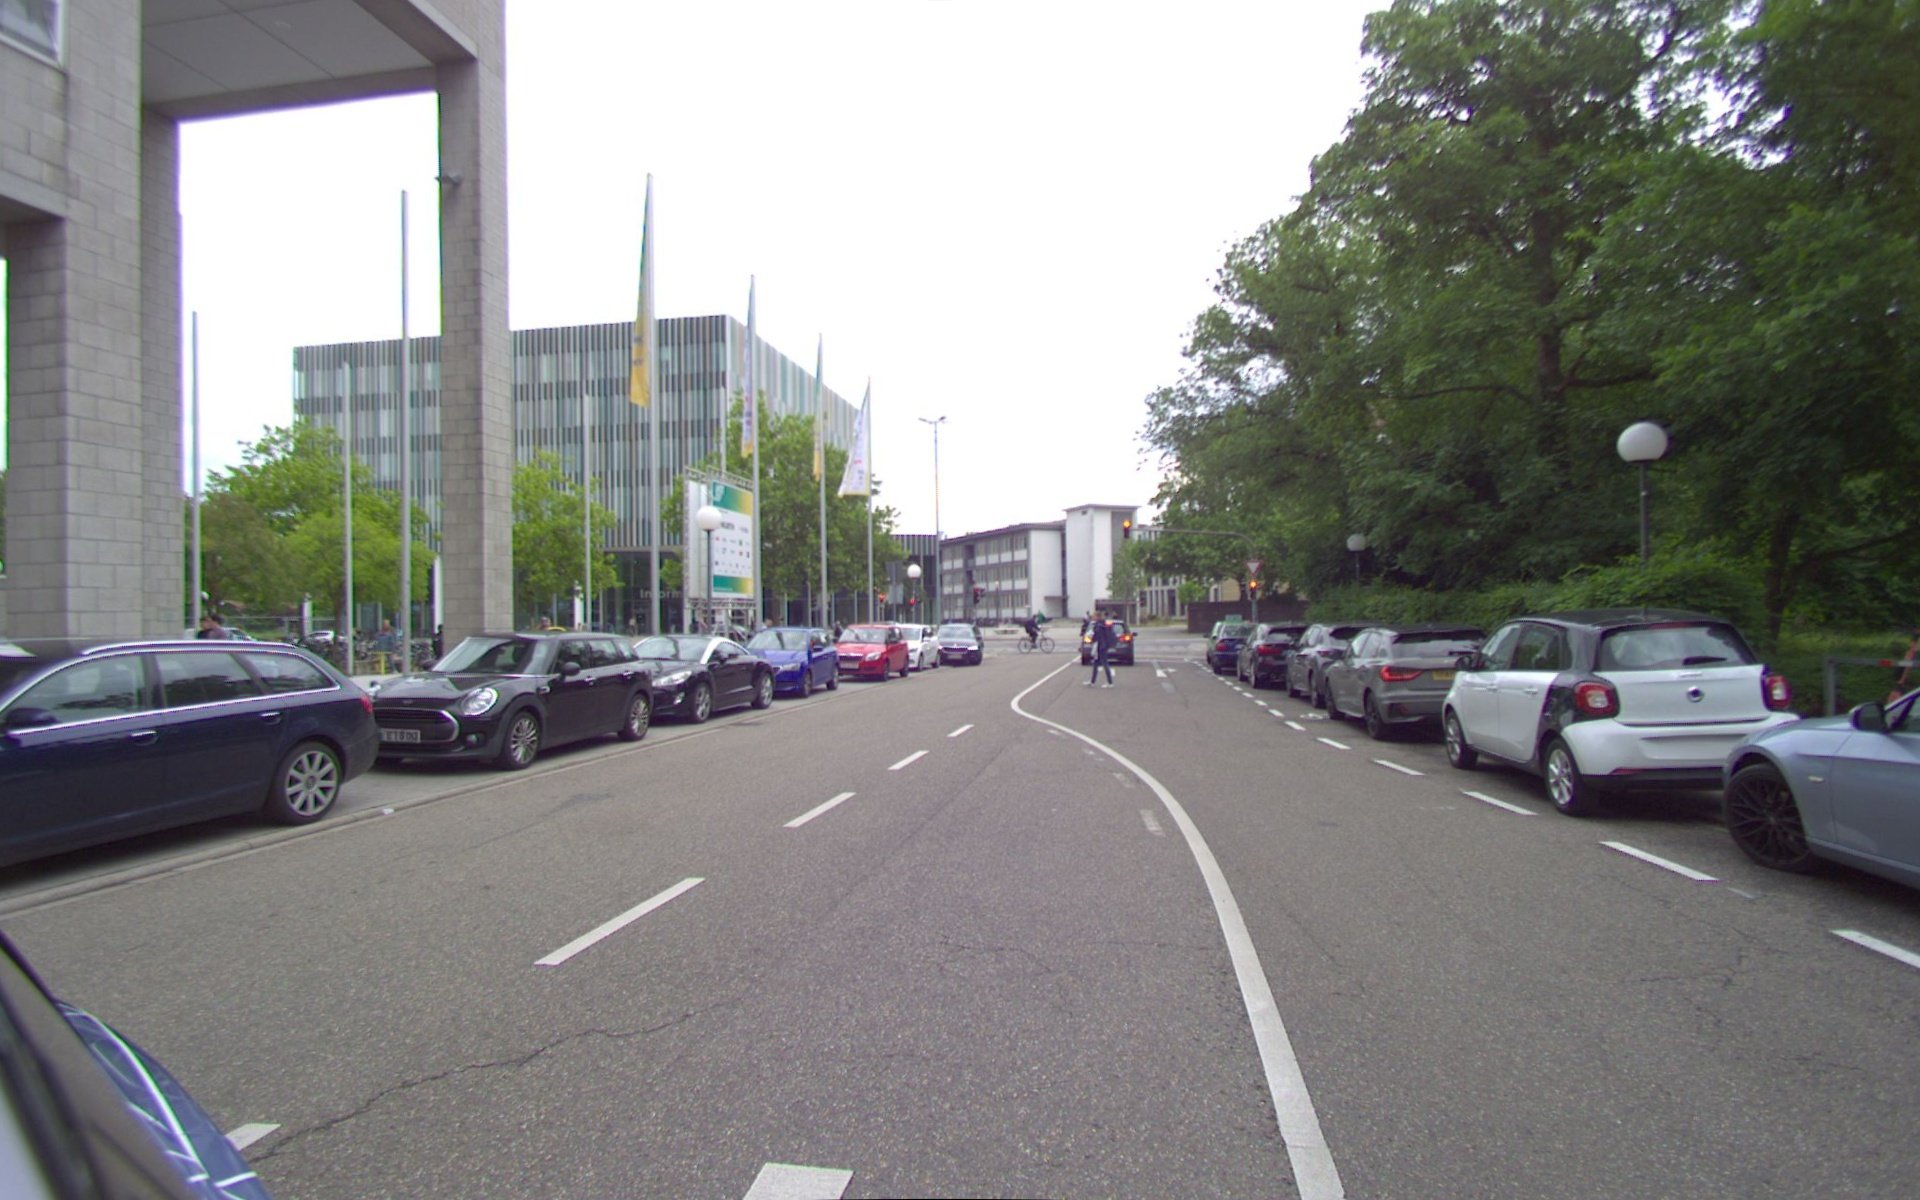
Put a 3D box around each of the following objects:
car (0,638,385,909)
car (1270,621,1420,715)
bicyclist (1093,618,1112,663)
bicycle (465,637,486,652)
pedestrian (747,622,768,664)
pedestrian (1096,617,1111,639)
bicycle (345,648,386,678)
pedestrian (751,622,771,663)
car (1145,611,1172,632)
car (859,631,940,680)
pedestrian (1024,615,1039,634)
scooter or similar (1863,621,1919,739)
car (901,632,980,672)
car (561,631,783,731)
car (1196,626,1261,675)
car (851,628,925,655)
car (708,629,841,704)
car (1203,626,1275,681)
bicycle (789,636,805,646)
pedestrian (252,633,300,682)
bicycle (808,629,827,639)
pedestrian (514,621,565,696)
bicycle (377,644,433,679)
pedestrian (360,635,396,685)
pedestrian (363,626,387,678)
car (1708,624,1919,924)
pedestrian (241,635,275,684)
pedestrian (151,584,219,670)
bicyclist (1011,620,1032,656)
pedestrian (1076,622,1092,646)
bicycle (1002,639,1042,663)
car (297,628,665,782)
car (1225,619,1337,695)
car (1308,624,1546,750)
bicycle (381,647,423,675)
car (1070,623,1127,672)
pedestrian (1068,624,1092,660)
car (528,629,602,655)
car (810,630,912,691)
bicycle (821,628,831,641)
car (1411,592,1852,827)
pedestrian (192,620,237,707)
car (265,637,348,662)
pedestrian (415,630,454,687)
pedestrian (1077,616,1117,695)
[{"bbox_3d":[-6.293,1.033,6.420,1.978,1.463,4.908,-1,-1,9],"label":"car"},{"bbox_3d":[6.743,1.133,18.136,1.748,1.482,3.813,-1,-1,9],"label":"car"},{"bbox_3d":[5.708,1.623,40.618,0.650,1.793,0.983,-1,-1,2],"label":"bicyclist"},{"bbox_3d":[-44.134,4.063,92.233,0.621,1.268,2.099,-1,-2,8],"label":"bicycle"},{"bbox_3d":[-8.539,1.816,42.632,0.665,1.728,0.677,-1,-2,7],"label":"pedestrian"},{"bbox_3d":[11.218,2.207,79.287,0.777,1.677,0.811,1,-5,-28],"label":"pedestrian"},{"bbox_3d":[-21.872,2.314,37.269,0.450,1.057,1.937,0,-2,-4],"label":"bicycle"},{"bbox_3d":[-8.622,1.837,43.829,0.647,1.728,0.586,0,-2,-40],"label":"pedestrian"},{"bbox_3d":[22.060,2.406,112.333,1.986,1.594,4.371,-10,-11,20],"label":"car"},{"bbox_3d":[-1.911,1.768,33.073,1.846,1.464,3.847,-1,-1,9],"label":"car"},{"bbox_3d":[6.546,2.235,92.525,0.937,1.727,0.907,0,-1,-41],"label":"pedestrian"},{"bbox_3d":[10.329,0.827,10.518,0.443,1.219,1.308,0,-2,-39],"label":"scooter or similar"},{"bbox_3d":[-0.799,1.899,37.726,1.835,1.412,4.491,1,-2,-16],"label":"car"},{"bbox_3d":[-4.611,1.298,16.979,1.834,1.453,4.403,-1,-3,10],"label":"car"},{"bbox_3d":[8.918,1.653,33.884,1.784,1.481,4.233,-1,-1,11],"label":"car"},{"bbox_3d":[-4.417,2.564,62.354,4.244,1.500,1.994,-2,-1,10],"label":"car"},{"bbox_3d":[-3.916,1.375,22.101,1.680,1.422,4.368,0,-1,6],"label":"car"},{"bbox_3d":[7.891,1.475,28.930,1.786,1.419,4.318,-1,-1,13],"label":"car"},{"bbox_3d":[-14.684,3.688,91.091,0.476,0.943,2.013,0,-2,-40],"label":"bicycle"},{"bbox_3d":[-21.065,1.760,31.197,0.840,1.431,0.969,-1,-1,-1],"label":"pedestrian"},{"bbox_3d":[-12.937,3.067,91.775,2.009,0.943,0.477,-1,-1,42],"label":"bicycle"},{"bbox_3d":[-9.589,1.342,23.112,0.728,1.653,0.929,-2,-4,8],"label":"pedestrian"},{"bbox_3d":[-19.360,2.159,35.371,0.451,1.179,2.410,-2,-4,5],"label":"bicycle"},{"bbox_3d":[-20.390,2.073,35.465,0.838,1.717,0.971,0,-2,-12],"label":"pedestrian"},{"bbox_3d":[-21.190,1.877,36.652,0.663,1.847,0.512,0,-2,-40],"label":"pedestrian"},{"bbox_3d":[5.374,0.799,4.152,1.802,1.399,4.185,-2,-2,7],"label":"car"},{"bbox_3d":[-20.923,1.766,30.181,0.662,1.424,0.772,-1,-1,-21],"label":"pedestrian"},{"bbox_3d":[-16.236,0.571,21.222,0.894,1.726,0.696,-1,-7,-16],"label":"pedestrian"},{"bbox_3d":[2.892,1.790,47.748,0.855,1.653,0.876,-1,-2,-3],"label":"bicyclist"},{"bbox_3d":[9.609,2.611,78.327,0.832,1.802,0.897,0,-2,-33],"label":"pedestrian"},{"bbox_3d":[2.895,2.385,47.723,1.774,1.101,0.876,-1,-2,-2],"label":"bicycle"},{"bbox_3d":[-5.377,1.081,12.167,1.803,1.454,4.508,0,-1,8],"label":"car"},{"bbox_3d":[7.275,1.270,23.363,1.783,1.573,4.516,-1,-2,9],"label":"car"},{"bbox_3d":[6.017,1.063,13.578,1.748,1.422,3.998,-1,-2,8],"label":"car"},{"bbox_3d":[-22.293,2.434,40.447,0.451,1.057,1.932,0,-2,5],"label":"bicycle"},{"bbox_3d":[4.731,1.563,34.181,1.769,1.508,4.155,-1,-1,9],"label":"car"},{"bbox_3d":[5.553,1.930,46.811,1.033,1.632,0.655,-1,-1,12],"label":"pedestrian"},{"bbox_3d":[-26.174,2.785,67.121,4.147,1.630,1.994,-1,-2,10],"label":"car"},{"bbox_3d":[-2.604,1.591,27.595,1.699,1.484,4.261,1,-1,9],"label":"car"},{"bbox_3d":[-11.209,2.864,84.532,0.475,1.053,1.789,-1,-1,-19],"label":"bicycle"},{"bbox_3d":[5.503,0.838,8.977,1.702,1.598,3.867,-2,-2,9],"label":"car"},{"bbox_3d":[-15.275,1.298,20.737,0.638,1.726,0.783,0,-2,-43],"label":"pedestrian"},{"bbox_3d":[-50.209,3.839,77.848,5.309,1.711,2.043,-2,-4,7],"label":"car"},{"bbox_3d":[-15.609,1.732,30.079,0.750,1.682,0.702,-1,-2,12],"label":"pedestrian"},{"bbox_3d":[2.990,1.202,22.027,0.734,1.674,0.963,-1,-2,16],"label":"pedestrian"}]
